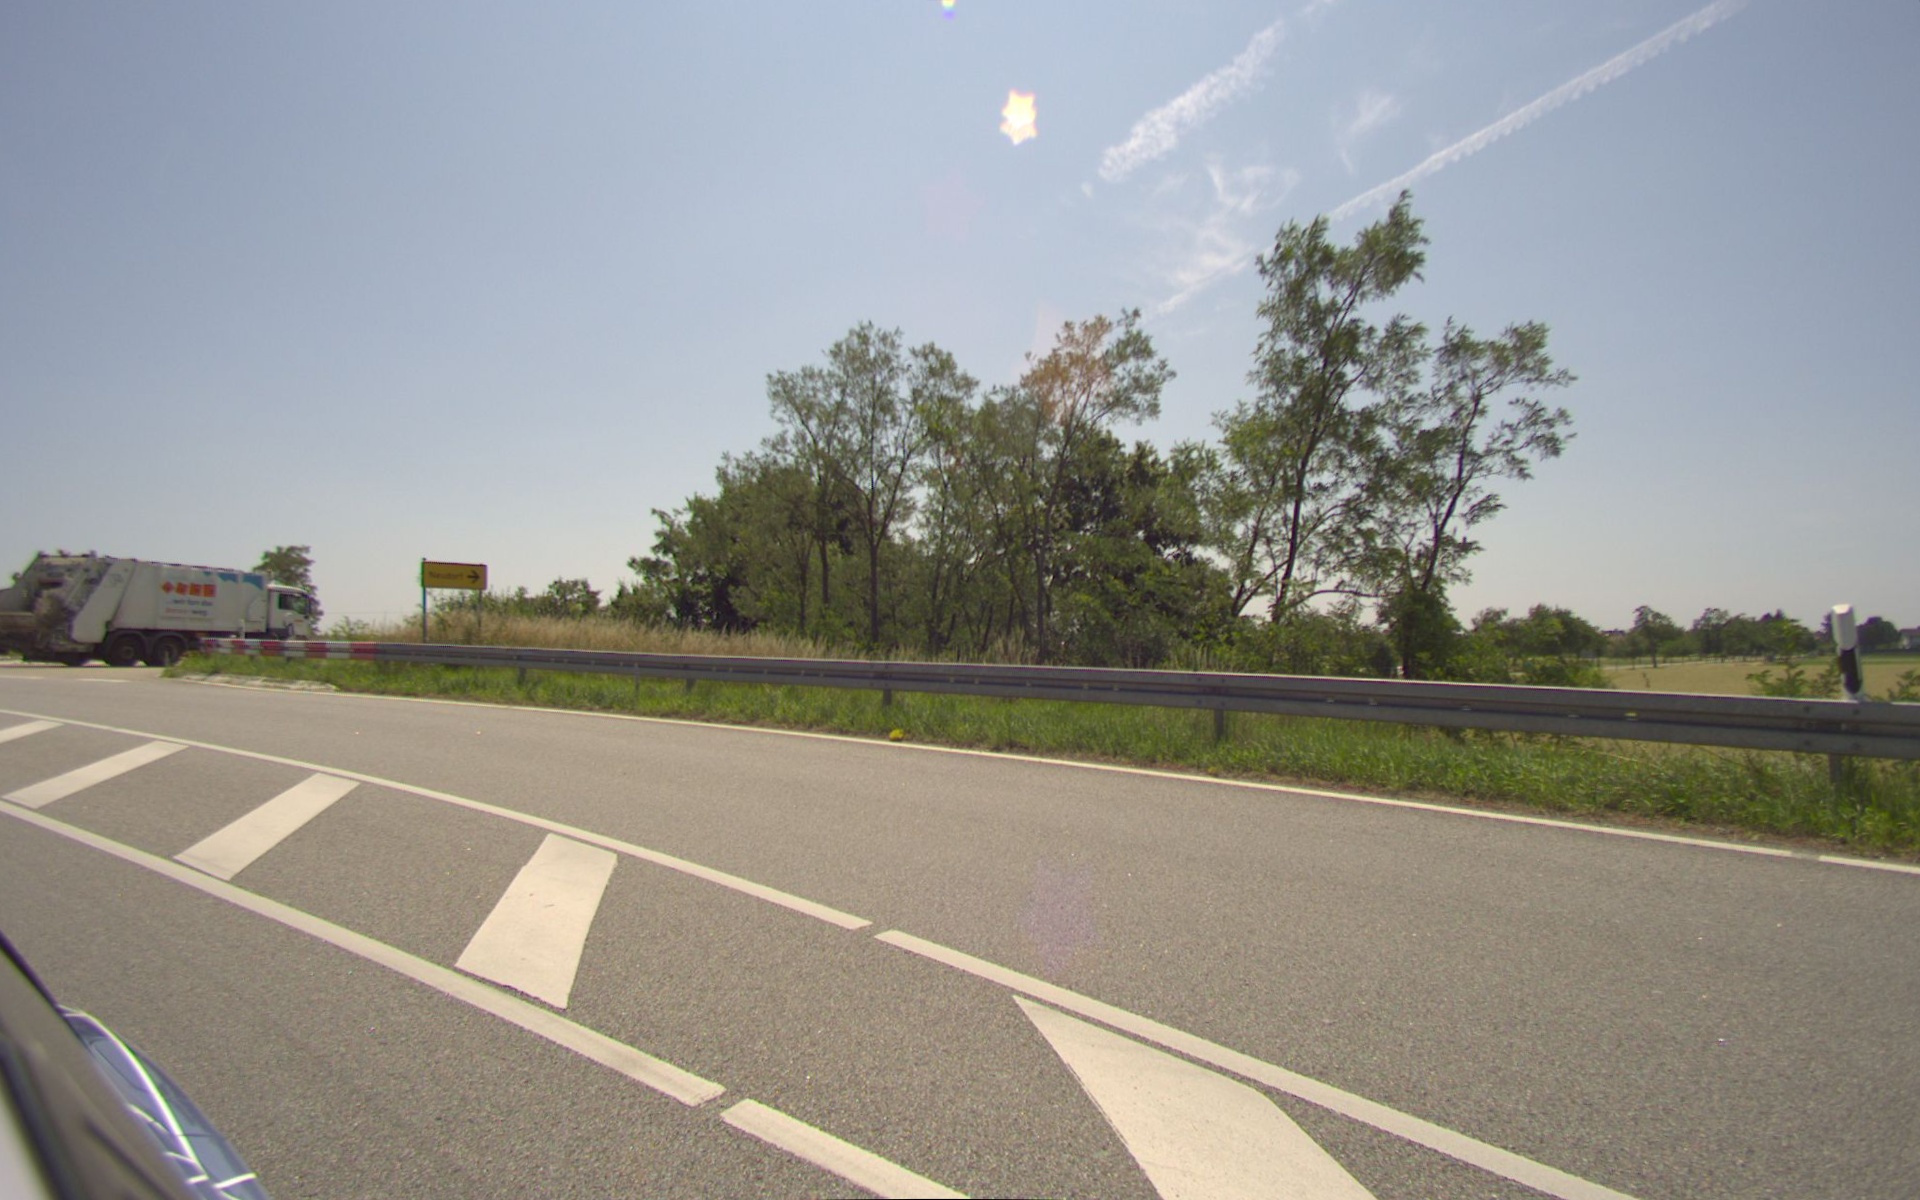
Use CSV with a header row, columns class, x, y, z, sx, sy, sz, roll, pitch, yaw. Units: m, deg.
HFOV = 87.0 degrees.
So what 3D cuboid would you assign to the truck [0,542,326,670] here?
class,x,y,z,sx,sy,sz,roll,pitch,yaw
truck,-27.459,0.471,35.022,2.796,3.697,9.897,2,-4,15
